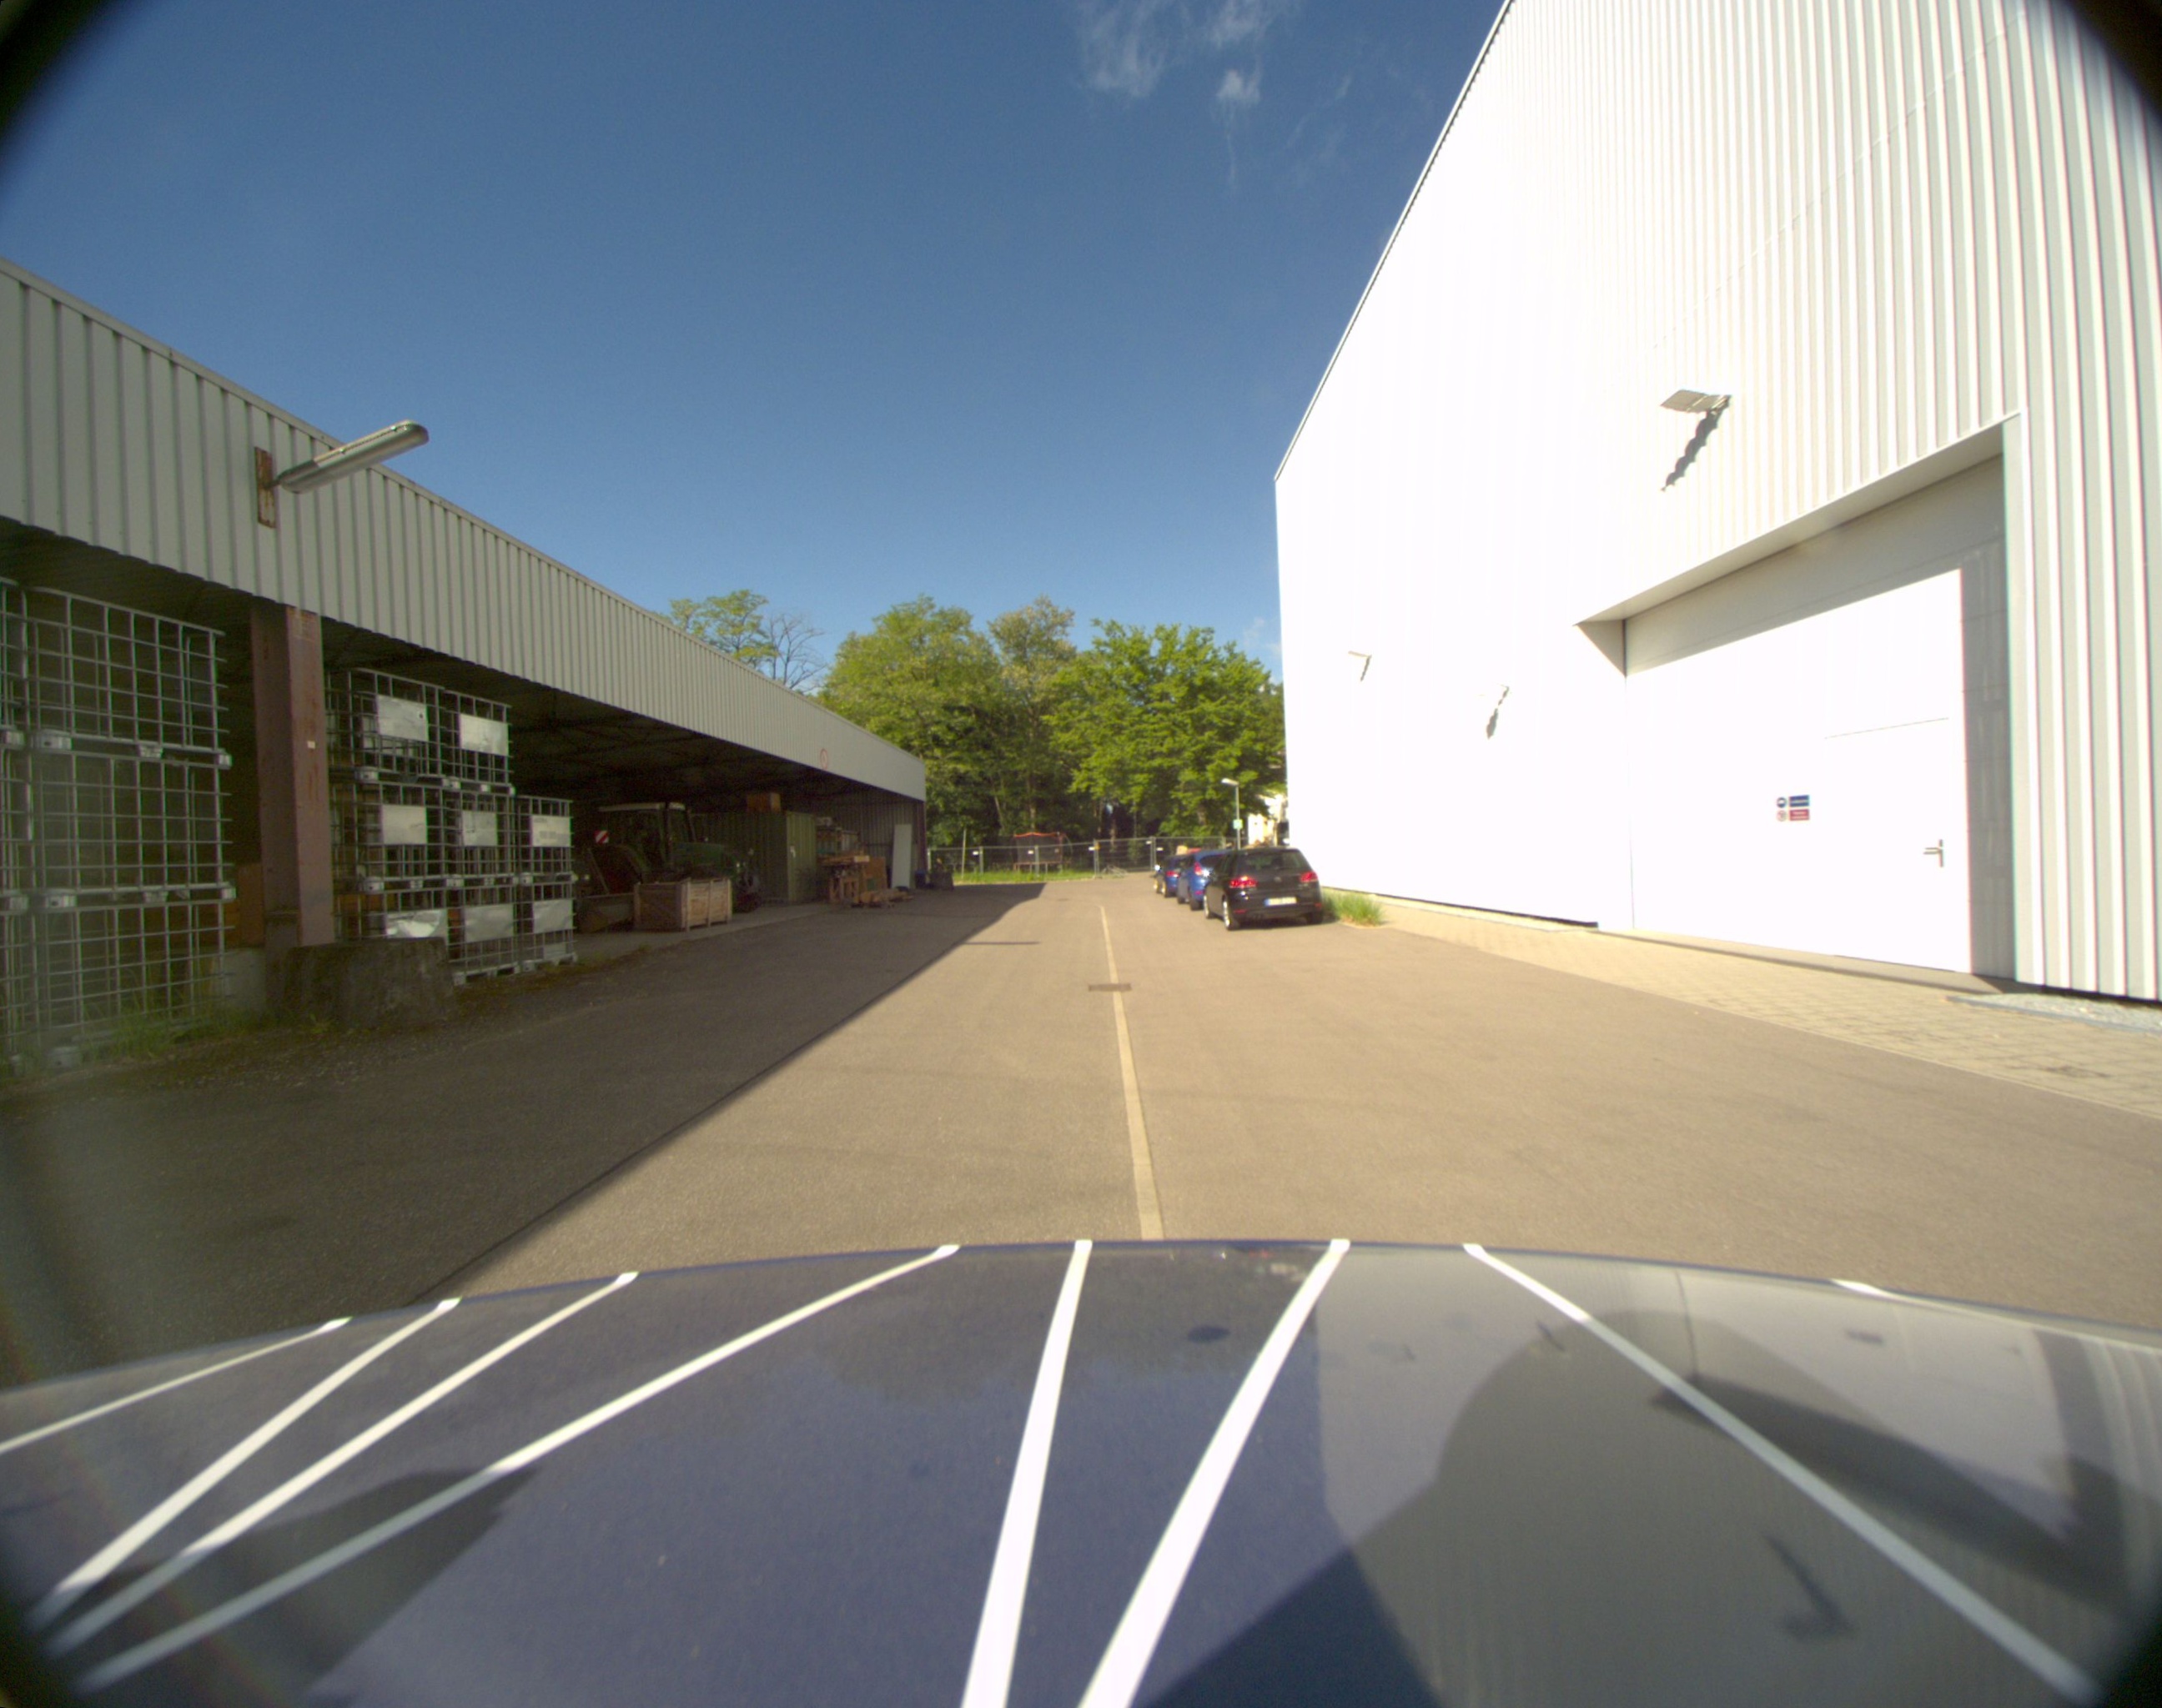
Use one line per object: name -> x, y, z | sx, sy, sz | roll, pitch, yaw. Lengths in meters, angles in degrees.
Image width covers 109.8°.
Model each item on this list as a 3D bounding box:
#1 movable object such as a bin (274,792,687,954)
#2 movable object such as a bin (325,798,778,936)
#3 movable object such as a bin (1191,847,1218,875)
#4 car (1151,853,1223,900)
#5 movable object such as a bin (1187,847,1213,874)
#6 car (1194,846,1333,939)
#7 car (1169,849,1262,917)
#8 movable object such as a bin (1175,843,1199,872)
movable object such as a bin -> -12.229, 0.363, 15.958 | 6.200, 2.893, 3.016 | -2, 1, 2
movable object such as a bin -> -12.989, 0.302, 19.273 | 9.214, 2.893, 3.212 | -2, 1, 2
movable object such as a bin -> 6.645, 0.385, 40.996 | 1.093, 1.424, 1.230 | -4, 2, -5
car -> 3.472, 0.688, 25.549 | 1.778, 1.353, 4.053 | -3, 0, 0
movable object such as a bin -> 6.622, 0.342, 42.329 | 1.093, 1.431, 1.230 | -4, 2, -5
car -> 3.459, 0.649, 15.204 | 1.759, 1.491, 4.294 | -4, 0, 1
car -> 3.434, 0.666, 20.101 | 1.635, 1.491, 4.094 | -5, 0, 0
movable object such as a bin -> 6.167, 0.202, 44.229 | 1.093, 1.588, 1.230 | -3, 3, -5
